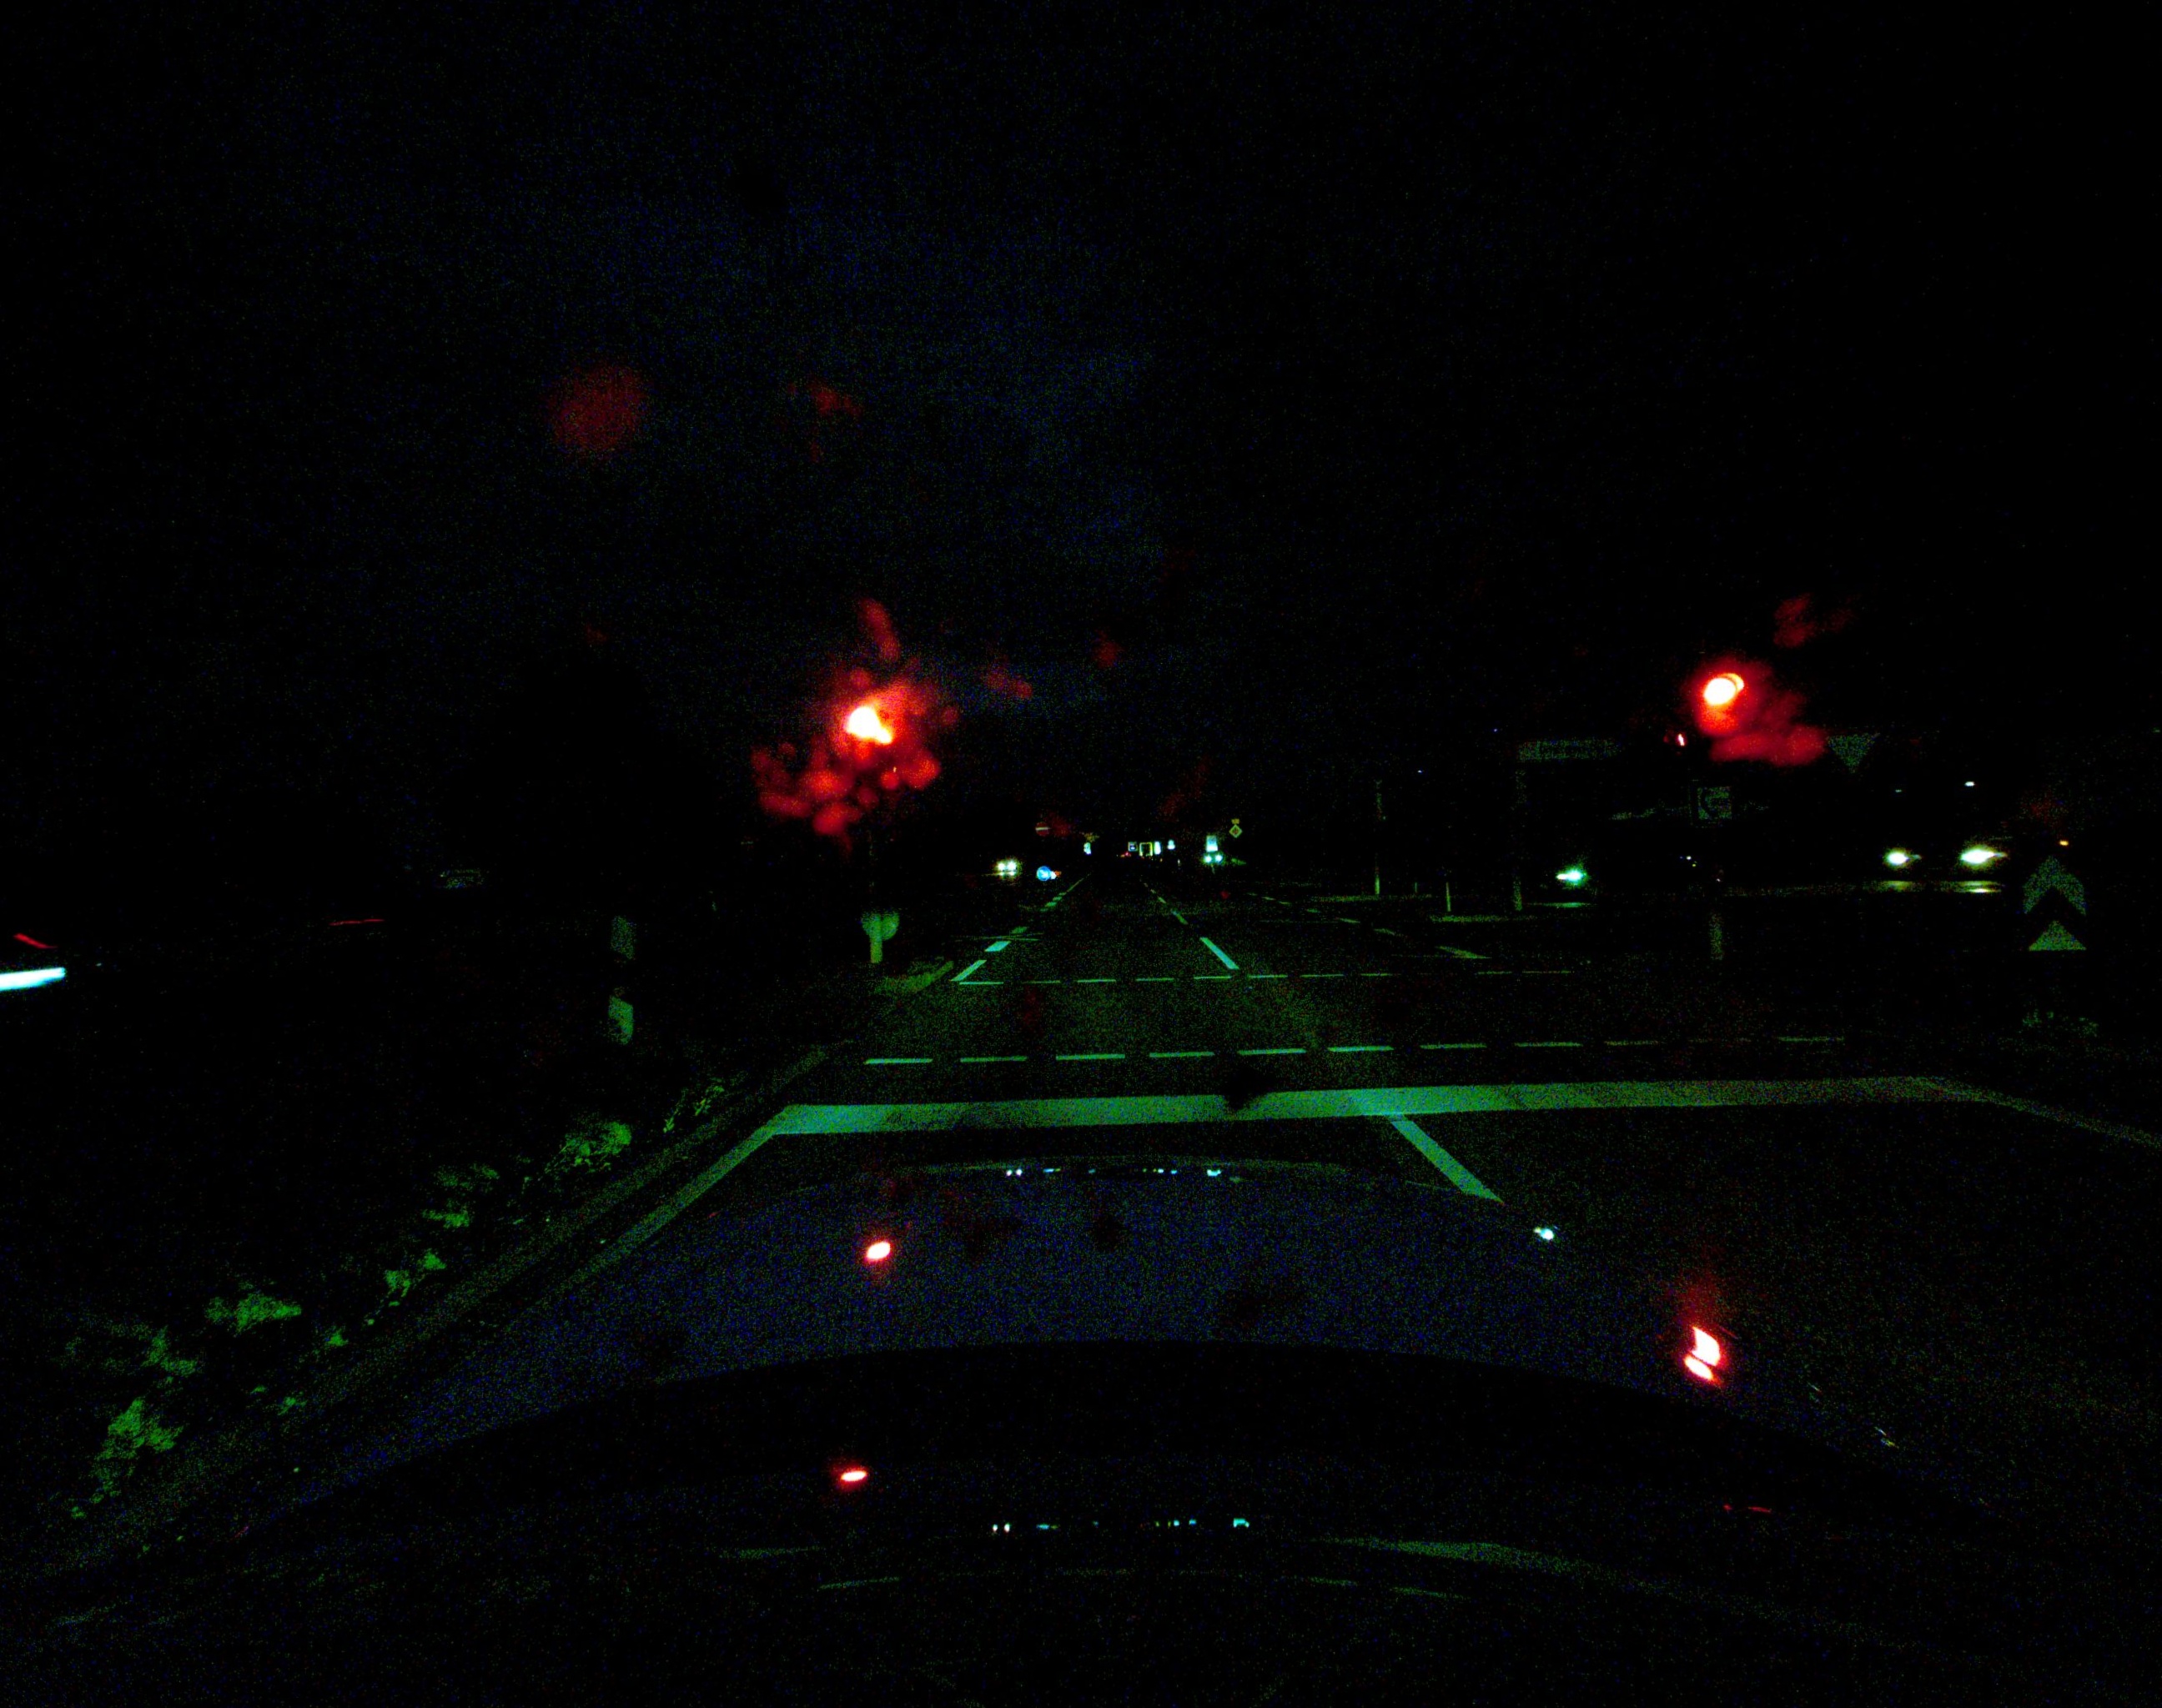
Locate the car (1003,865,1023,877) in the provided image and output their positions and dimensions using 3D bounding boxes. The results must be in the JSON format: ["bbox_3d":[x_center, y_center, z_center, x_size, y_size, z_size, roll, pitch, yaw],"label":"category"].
[{"bbox_3d":[-8.324,2.057,100.178,1.986,1.387,4.002,-2,0,2],"label":"car"}]

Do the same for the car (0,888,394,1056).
[{"bbox_3d":[-11.713,1.323,10.463,1.986,1.519,4.299,-2,0,2],"label":"car"}]

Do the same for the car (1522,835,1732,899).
[{"bbox_3d":[15.399,0.367,23.186,4.583,1.520,2.001,-3,0,2],"label":"car"}]

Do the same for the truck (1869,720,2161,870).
[{"bbox_3d":[29.797,-1.790,24.627,10.033,3.979,2.917,-3,0,-8],"label":"truck"}]

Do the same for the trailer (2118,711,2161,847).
[{"bbox_3d":[38.971,-2.765,26.058,9.040,4.301,2.916,-5,0,-9],"label":"trailer"}]
